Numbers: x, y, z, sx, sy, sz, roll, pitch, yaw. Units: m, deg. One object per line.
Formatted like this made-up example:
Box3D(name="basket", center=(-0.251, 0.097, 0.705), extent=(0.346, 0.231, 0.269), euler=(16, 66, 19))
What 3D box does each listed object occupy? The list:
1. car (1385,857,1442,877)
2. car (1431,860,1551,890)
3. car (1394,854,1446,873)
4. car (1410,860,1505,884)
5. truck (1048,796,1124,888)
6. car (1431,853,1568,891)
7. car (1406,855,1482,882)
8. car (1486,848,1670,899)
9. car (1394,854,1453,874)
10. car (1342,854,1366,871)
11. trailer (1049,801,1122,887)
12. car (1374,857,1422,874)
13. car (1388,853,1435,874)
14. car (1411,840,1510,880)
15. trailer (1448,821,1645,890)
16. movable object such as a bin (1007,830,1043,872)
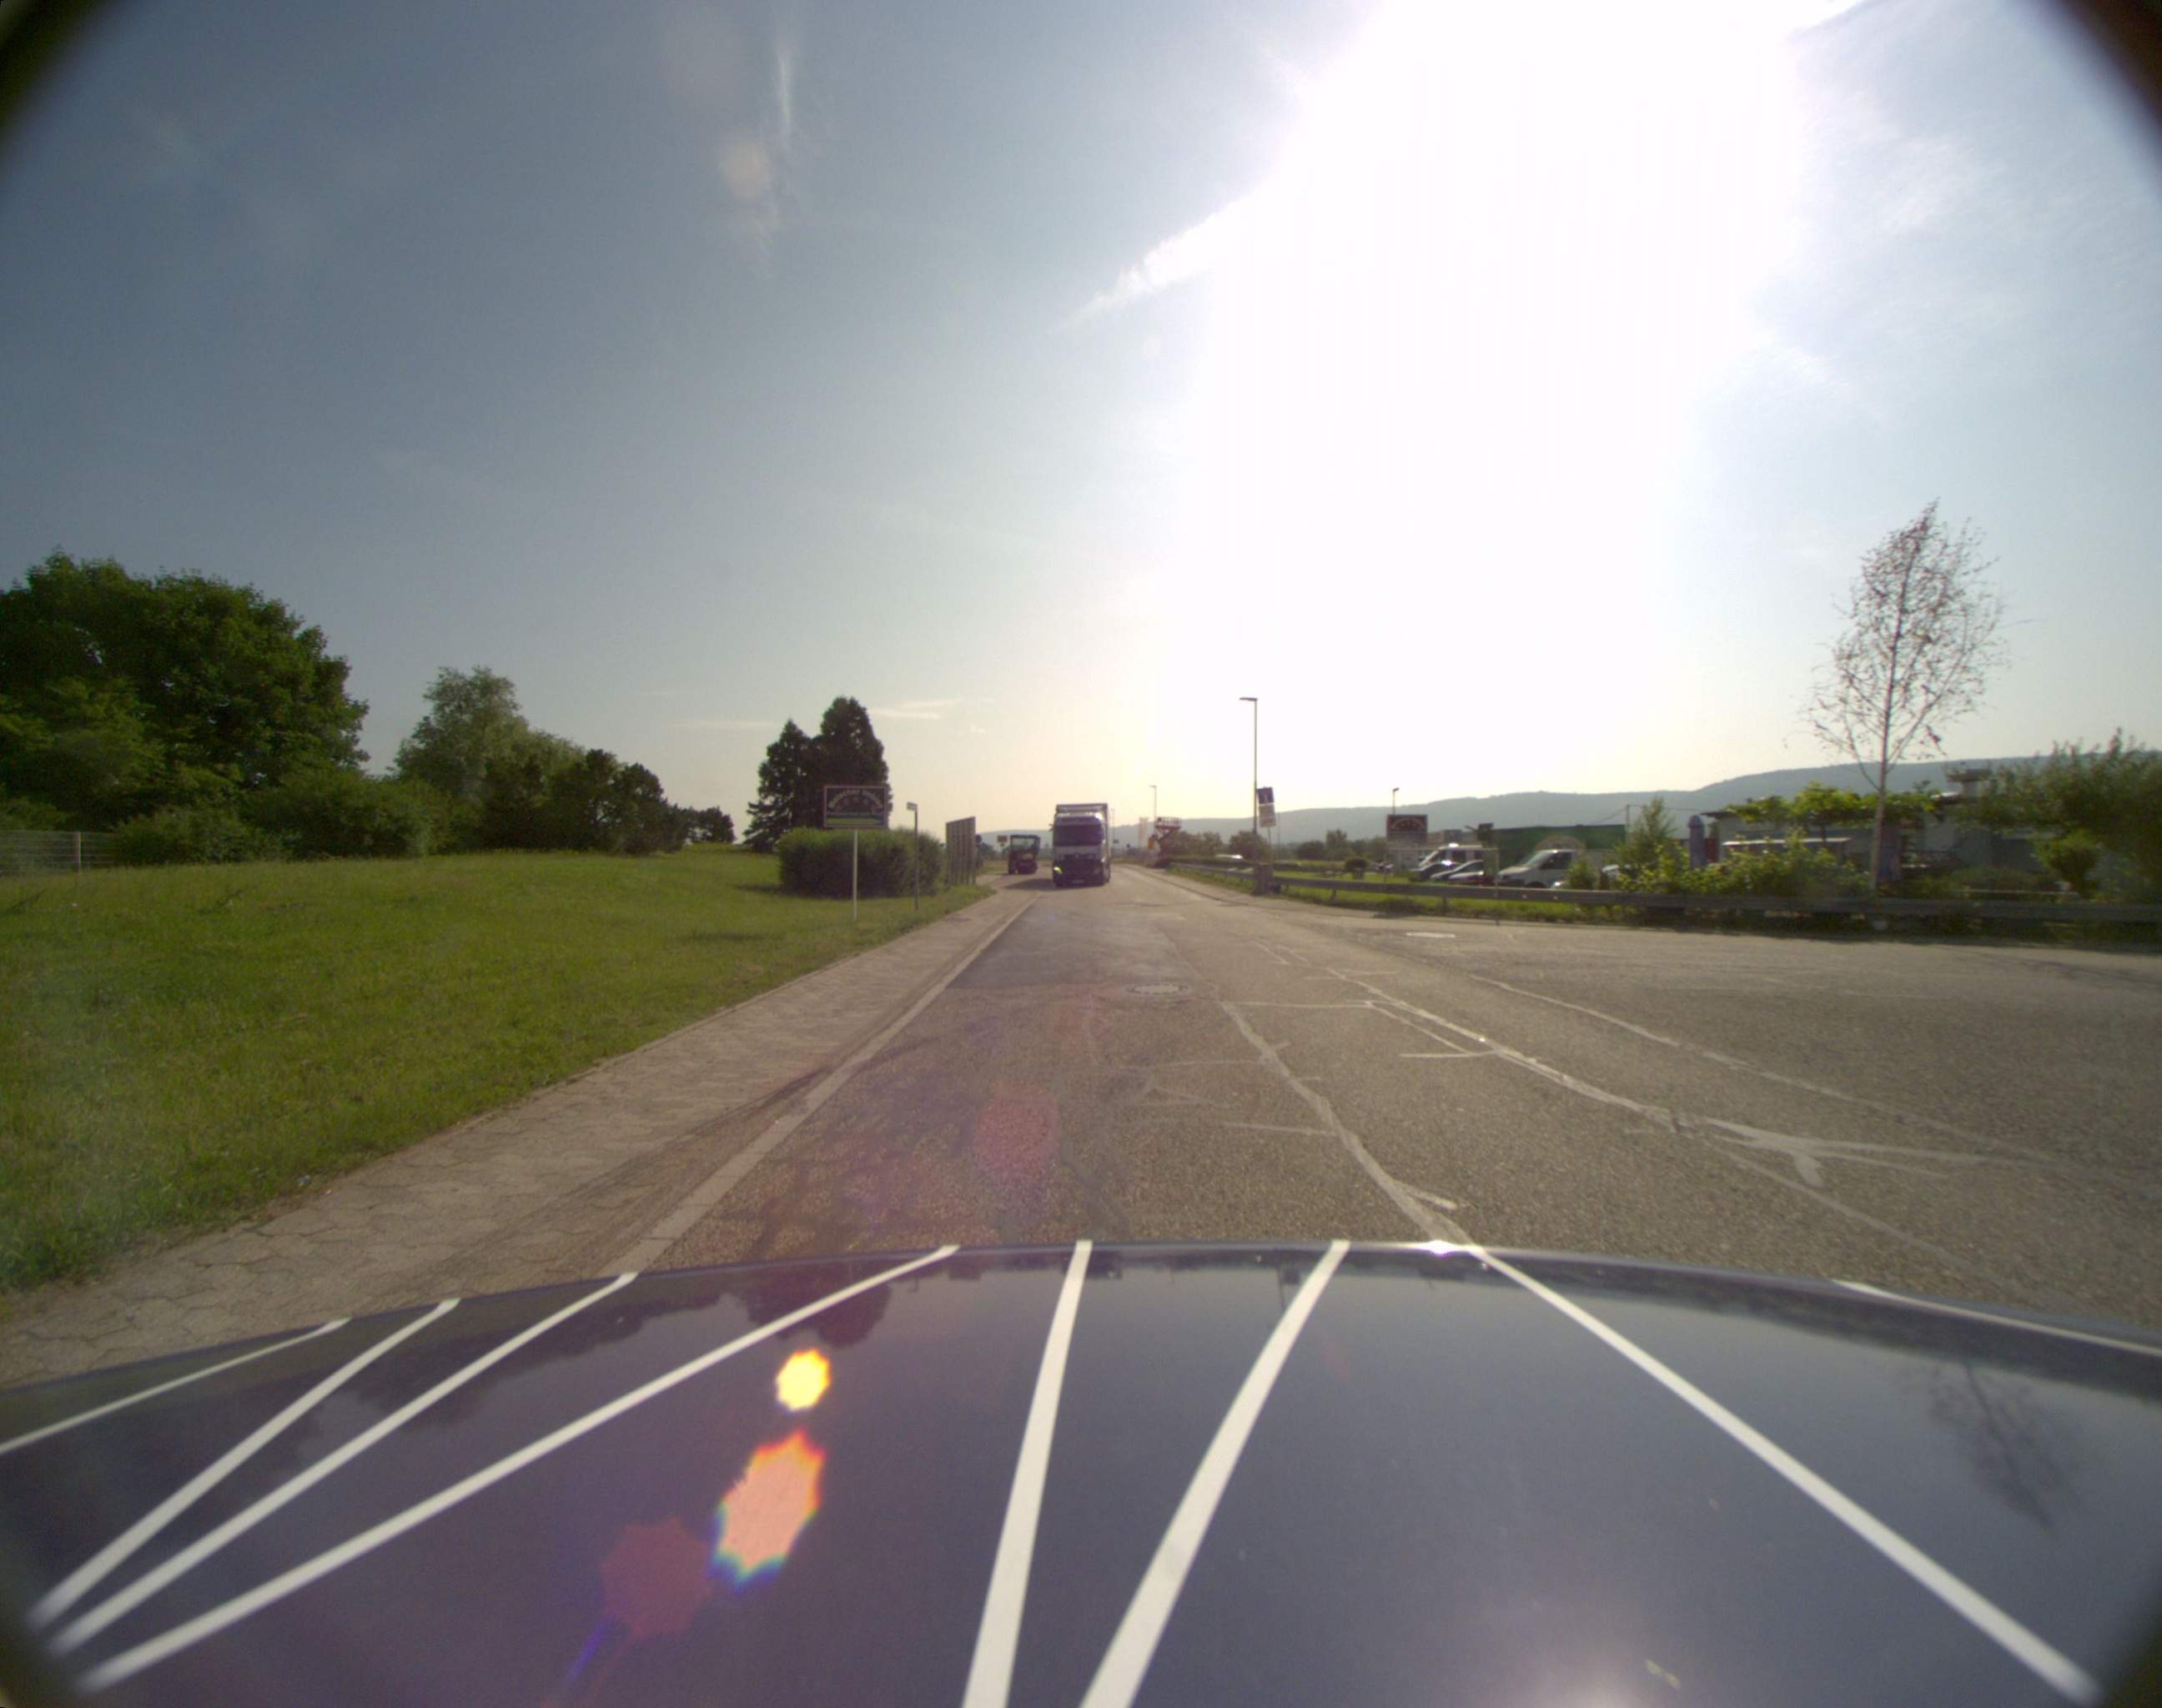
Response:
Box3D(name="car", center=(25.628, 0.983, 58.624), extent=(3.750, 1.381, 1.731), euler=(1, 1, 14))
Box3D(name="car", center=(20.129, 1.035, 37.521), extent=(4.956, 1.309, 1.782), euler=(1, -1, 19))
Box3D(name="car", center=(28.085, 0.766, 63.030), extent=(3.681, 1.512, 1.686), euler=(1, 1, 12))
Box3D(name="car", center=(21.525, 1.013, 43.606), extent=(4.686, 1.212, 1.834), euler=(1, -1, 19))
Box3D(name="truck", center=(0.283, -0.601, 38.506), extent=(3.395, 4.183, 6.097), euler=(-2, 1, 1))
Box3D(name="car", center=(18.890, 0.788, 34.566), extent=(5.131, 1.525, 2.181), euler=(1, -1, 19))
Box3D(name="car", center=(24.387, 0.945, 51.171), extent=(4.393, 1.653, 1.809), euler=(1, -1, 19))
Box3D(name="car", center=(18.124, 0.672, 27.951), extent=(5.272, 1.696, 2.001), euler=(1, 1, 7))
Box3D(name="car", center=(27.361, 0.775, 60.752), extent=(3.993, 1.512, 1.686), euler=(1, 1, 12))
Box3D(name="car", center=(33.972, 1.019, 94.738), extent=(1.997, 2.002, 4.160), euler=(1, 0, 9))
Box3D(name="trailer", center=(0.382, -0.651, 45.258), extent=(3.497, 4.183, 14.231), euler=(-2, 1, 1))
Box3D(name="car", center=(31.363, 1.101, 75.251), extent=(4.149, 1.527, 1.885), euler=(1, 1, 13))
Box3D(name="car", center=(31.444, 0.905, 72.387), extent=(3.767, 1.785, 1.934), euler=(-2, 1, 13))
Box3D(name="car", center=(24.091, 0.388, 48.506), extent=(5.394, 2.358, 2.298), euler=(1, -1, 19))
Box3D(name="trailer", center=(18.924, 0.015, 31.380), extent=(6.315, 2.590, 2.857), euler=(1, 1, 14))
Box3D(name="movable object such as a bin", center=(-4.358, -0.230, 58.579), extent=(2.436, 2.994, 5.750), euler=(1, 0, -7))
